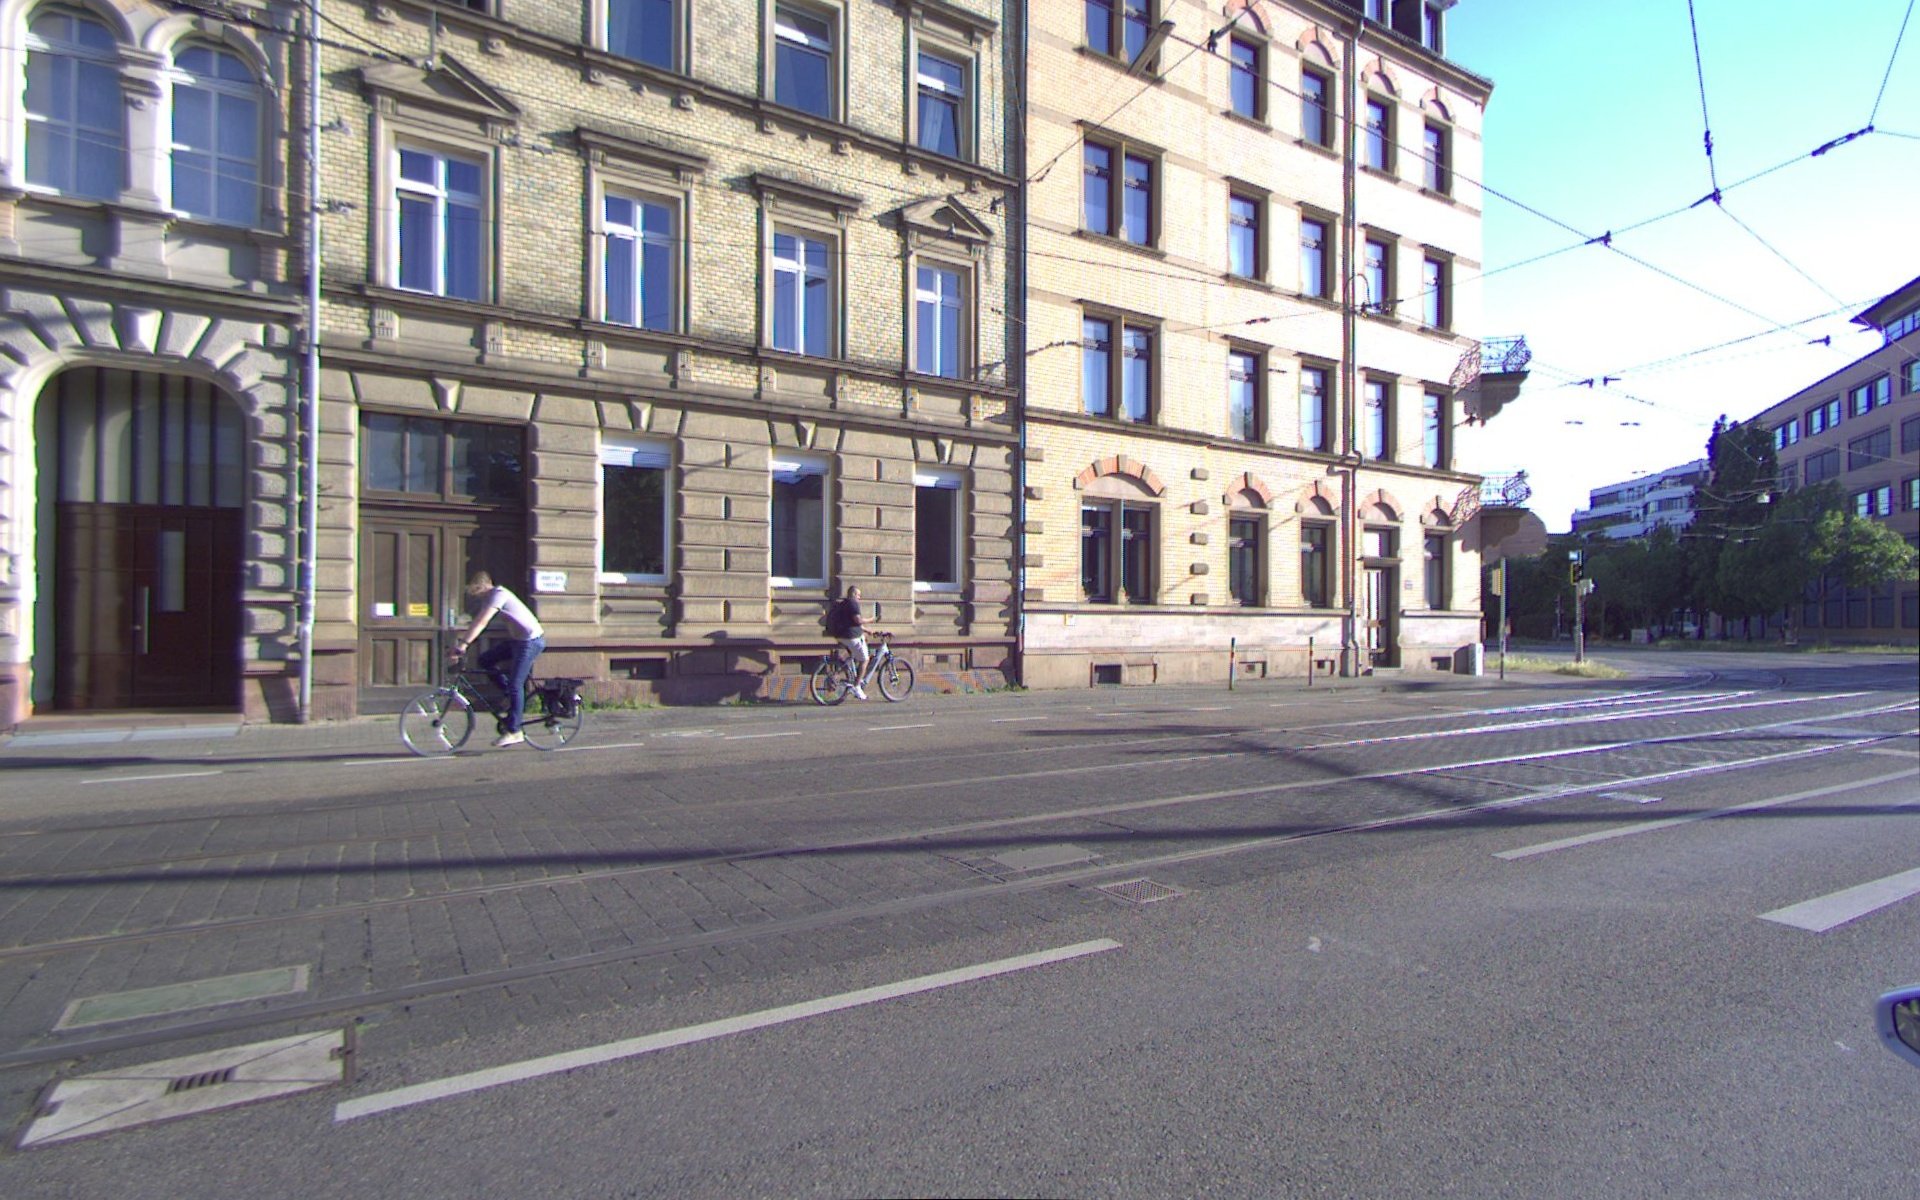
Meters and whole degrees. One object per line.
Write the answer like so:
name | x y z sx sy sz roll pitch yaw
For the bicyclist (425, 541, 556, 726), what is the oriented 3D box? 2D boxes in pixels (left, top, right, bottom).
bicyclist | -5.006 0.347 10.704 1.198 1.865 0.724 0 -1 -31

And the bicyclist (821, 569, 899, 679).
bicyclist | -1.543 0.375 15.554 1.024 1.634 0.632 1 -1 -30

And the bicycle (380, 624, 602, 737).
bicycle | -4.978 0.809 10.716 2.092 1.098 0.723 1 -1 -31

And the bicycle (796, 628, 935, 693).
bicycle | -1.450 0.925 15.598 2.063 0.952 0.643 1 -1 -31
